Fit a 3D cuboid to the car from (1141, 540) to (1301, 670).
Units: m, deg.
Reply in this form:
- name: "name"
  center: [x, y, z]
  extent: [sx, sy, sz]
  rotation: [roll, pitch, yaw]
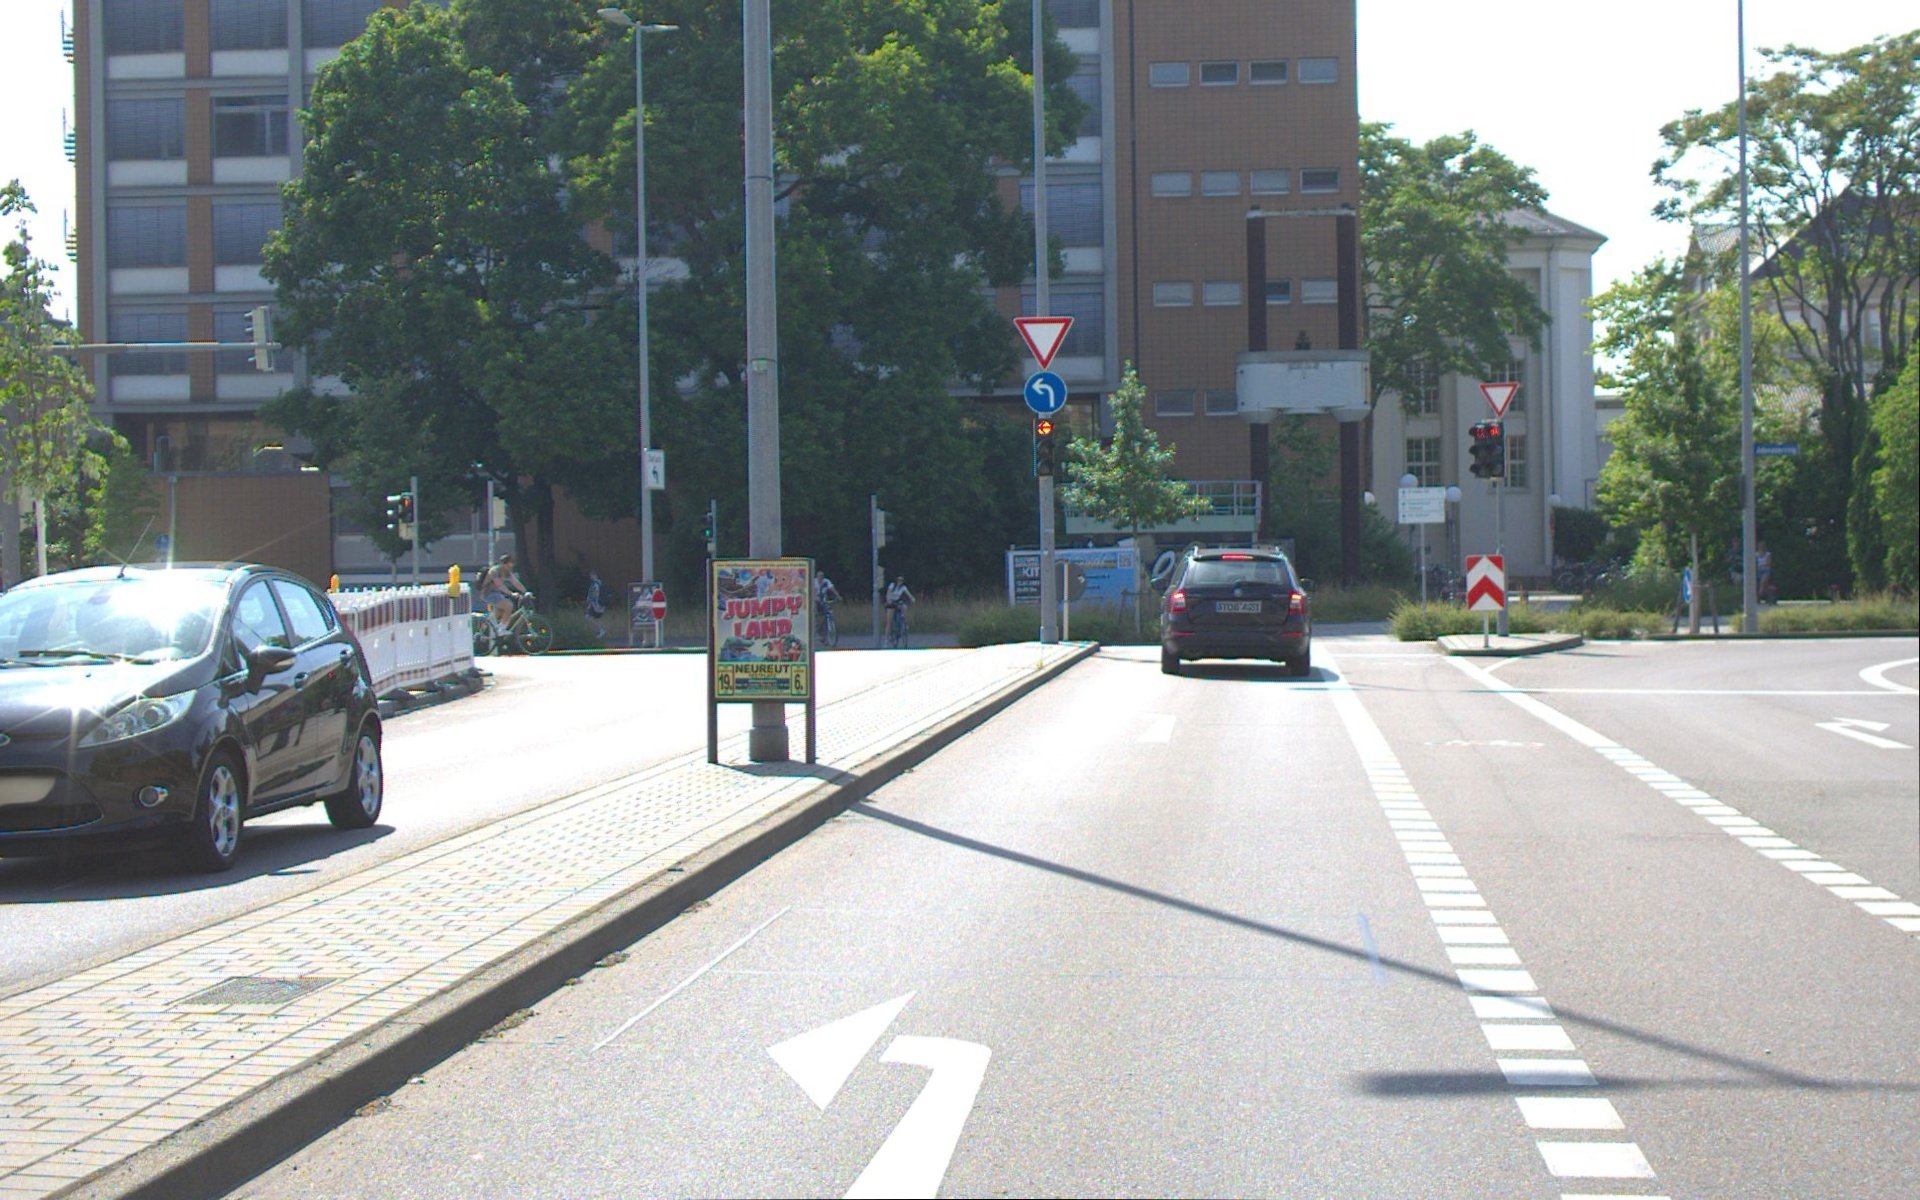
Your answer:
- name: "car"
  center: [3.128, 0.024, 40.674]
  extent: [1.780, 1.438, 3.817]
  rotation: [1, 1, 6]

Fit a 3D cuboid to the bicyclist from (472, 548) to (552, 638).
- name: "bicyclist"
  center: [-7.484, -0.120, 57.471]
  extent: [1.166, 1.469, 0.563]
  rotation: [-1, 1, 18]

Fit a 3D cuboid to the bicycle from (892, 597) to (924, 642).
- name: "bicycle"
  center: [-1.183, 0.450, 78.590]
  extent: [0.618, 0.957, 1.968]
  rotation: [-3, 1, 0]

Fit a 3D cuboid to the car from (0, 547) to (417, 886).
- name: "car"
  center: [-4.010, 0.500, 16.969]
  extent: [1.666, 1.446, 3.817]
  rotation: [-2, 1, 6]

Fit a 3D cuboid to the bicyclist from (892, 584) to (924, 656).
- name: "bicyclist"
  center: [-1.183, 0.450, 78.590]
  extent: [0.618, 1.576, 1.014]
  rotation: [-3, 1, 0]

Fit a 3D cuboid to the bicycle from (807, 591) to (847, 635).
- name: "bicycle"
  center: [-3.116, 0.306, 80.695]
  extent: [0.704, 0.974, 2.030]
  rotation: [-1, 1, 3]

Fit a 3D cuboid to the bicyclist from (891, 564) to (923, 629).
- name: "bicyclist"
  center: [-1.215, -0.086, 78.587]
  extent: [0.618, 1.438, 0.921]
  rotation: [-3, 1, 0]

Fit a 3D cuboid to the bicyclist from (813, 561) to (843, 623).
- name: "bicyclist"
  center: [-3.085, -0.185, 80.430]
  extent: [0.539, 1.412, 1.030]
  rotation: [-2, 0, 4]

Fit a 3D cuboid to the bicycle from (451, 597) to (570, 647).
- name: "bicycle"
  center: [-7.521, 0.364, 57.488]
  extent: [1.891, 0.790, 0.560]
  rotation: [-1, 2, 18]

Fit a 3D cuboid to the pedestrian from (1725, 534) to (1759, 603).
- name: "pedestrian"
  center: [21.868, -0.887, 96.185]
  extent: [0.794, 1.868, 0.638]
  rotation: [-2, 1, 18]
